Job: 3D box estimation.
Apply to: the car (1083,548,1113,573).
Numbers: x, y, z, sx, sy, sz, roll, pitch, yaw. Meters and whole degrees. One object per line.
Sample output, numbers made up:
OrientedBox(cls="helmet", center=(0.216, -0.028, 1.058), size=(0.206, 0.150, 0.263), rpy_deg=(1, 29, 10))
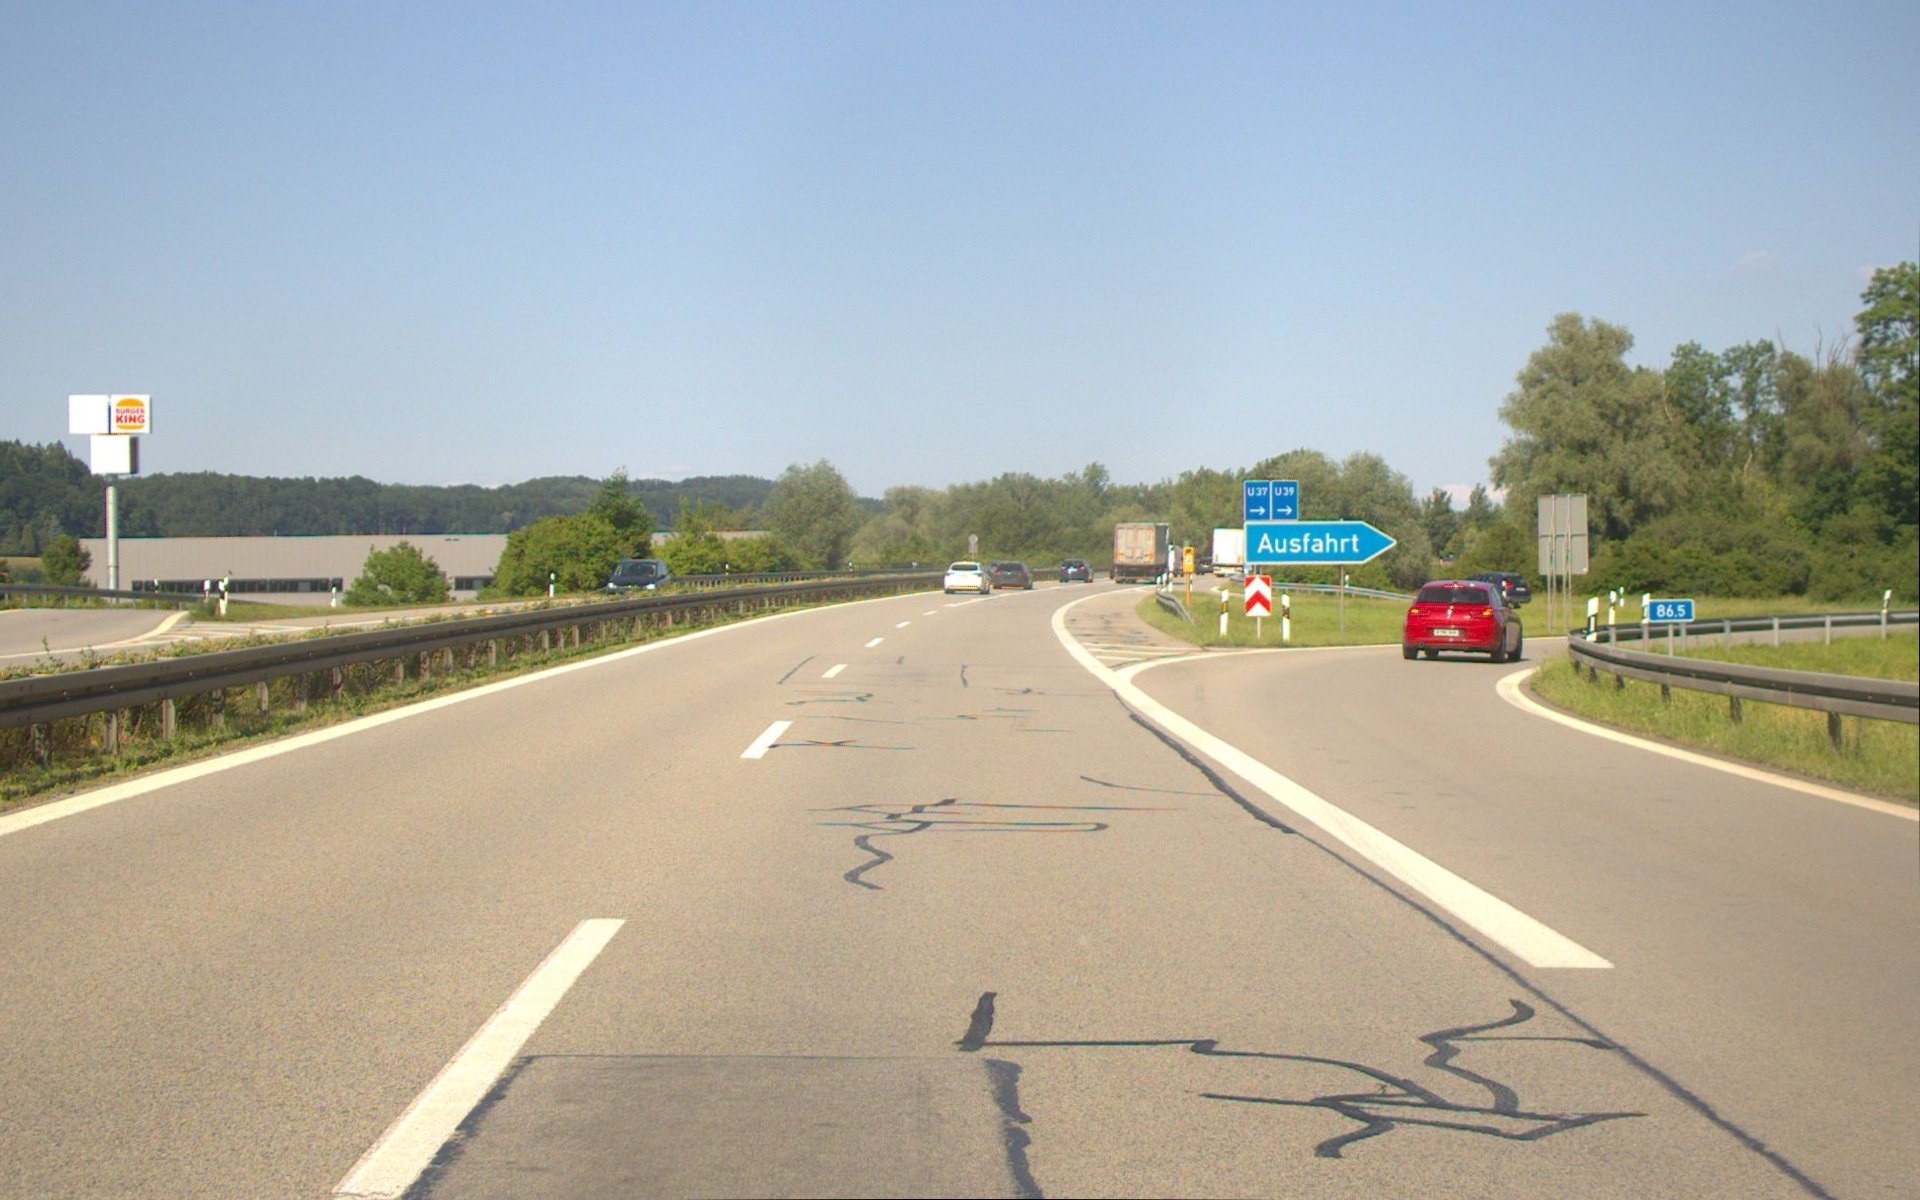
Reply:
OrientedBox(cls="car", center=(9.861, -2.819, 245.962), size=(1.993, 1.744, 4.000), rpy_deg=(-1, 1, 1))

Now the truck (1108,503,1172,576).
OrientedBox(cls="truck", center=(11.498, -3.883, 220.172), size=(3.838, 4.382, 11.470), rpy_deg=(-2, 1, 3))

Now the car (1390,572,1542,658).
OrientedBox(cls="car", center=(9.083, 0.284, 61.487), size=(1.786, 1.426, 3.995), rpy_deg=(2, 0, 21))

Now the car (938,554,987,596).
OrientedBox(cls="car", center=(0.086, -1.087, 150.866), size=(2.061, 1.619, 4.000), rpy_deg=(-2, -2, -1))

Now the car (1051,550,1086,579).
OrientedBox(cls="car", center=(6.833, -2.234, 216.465), size=(1.993, 1.744, 4.000), rpy_deg=(-1, 1, -1))

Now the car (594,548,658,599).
OrientedBox(cls="car", center=(-11.889, -0.935, 122.684), size=(1.879, 1.619, 4.000), rpy_deg=(-2, -2, -1))
